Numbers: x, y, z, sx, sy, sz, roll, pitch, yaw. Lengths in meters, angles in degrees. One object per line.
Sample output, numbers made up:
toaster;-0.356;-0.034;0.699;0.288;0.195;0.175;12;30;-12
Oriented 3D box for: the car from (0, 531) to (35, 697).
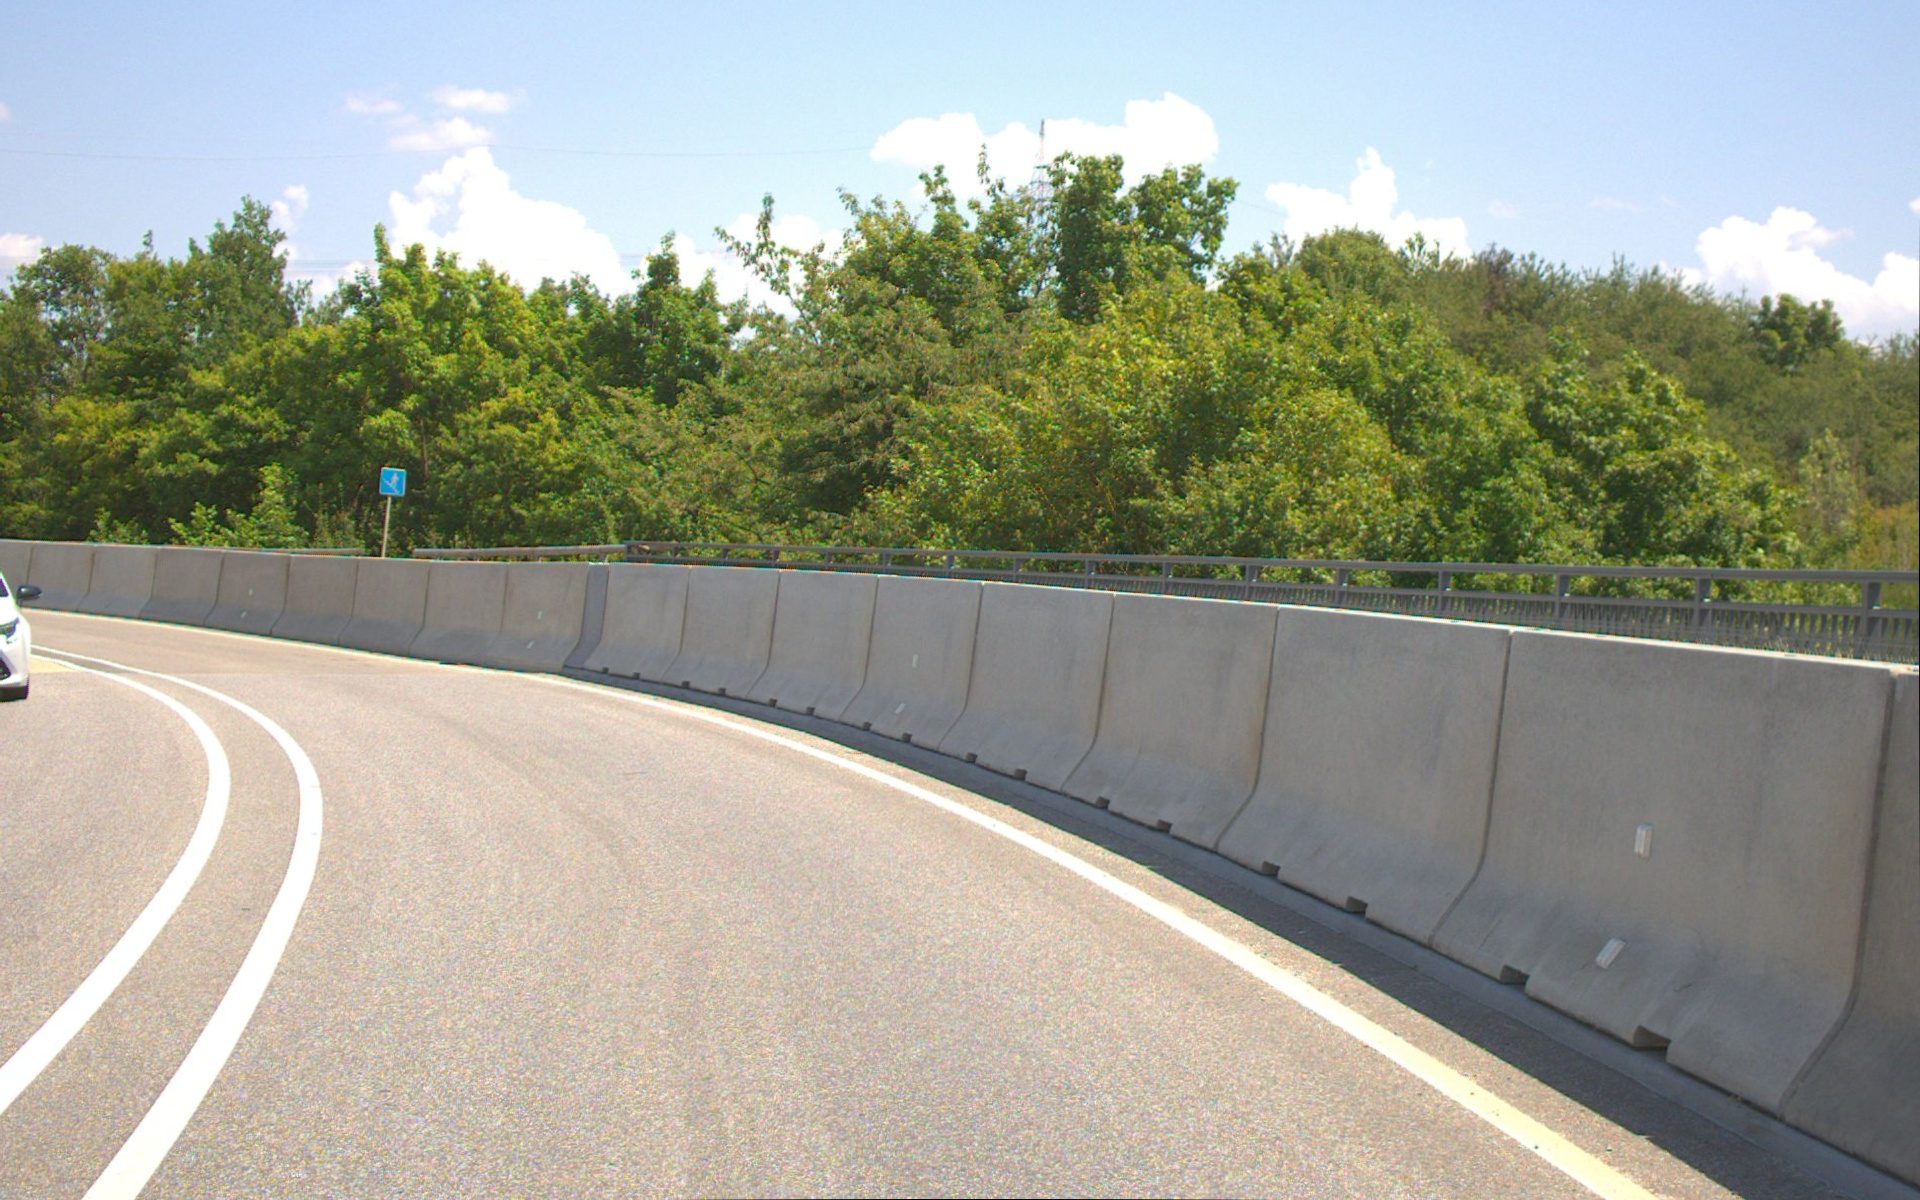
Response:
car;-9.660;0.098;32.120;1.742;1.454;4.368;-1;1;-18
